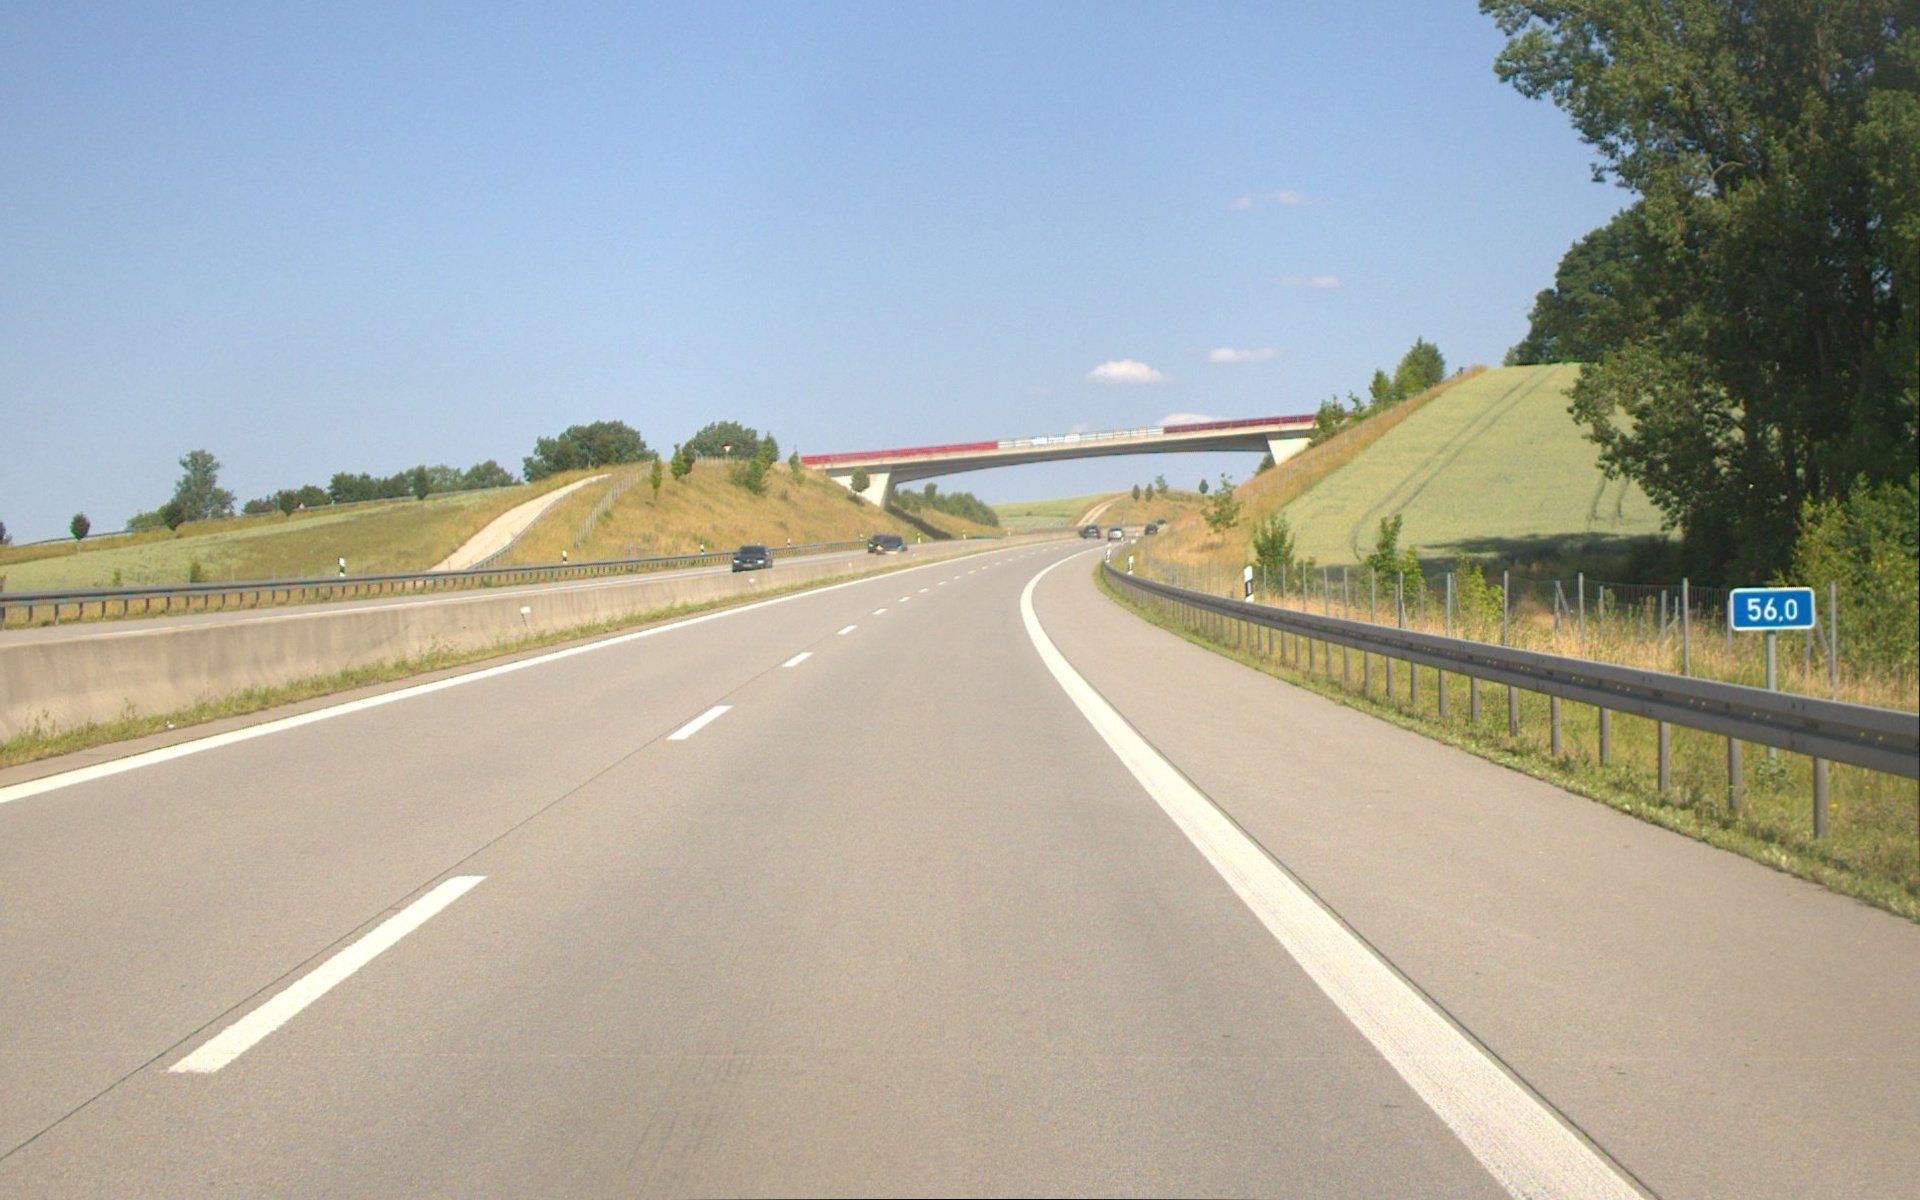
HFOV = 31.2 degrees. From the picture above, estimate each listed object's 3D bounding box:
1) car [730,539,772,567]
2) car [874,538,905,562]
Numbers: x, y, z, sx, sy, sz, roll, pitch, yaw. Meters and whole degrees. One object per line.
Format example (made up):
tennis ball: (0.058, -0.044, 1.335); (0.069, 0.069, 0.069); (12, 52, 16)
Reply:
car: (-10.921, -2.445, 179.950); (1.813, 1.451, 4.512); (1, 1, 1)
car: (-4.940, -3.494, 241.781); (1.813, 1.609, 4.676); (1, 1, 3)
